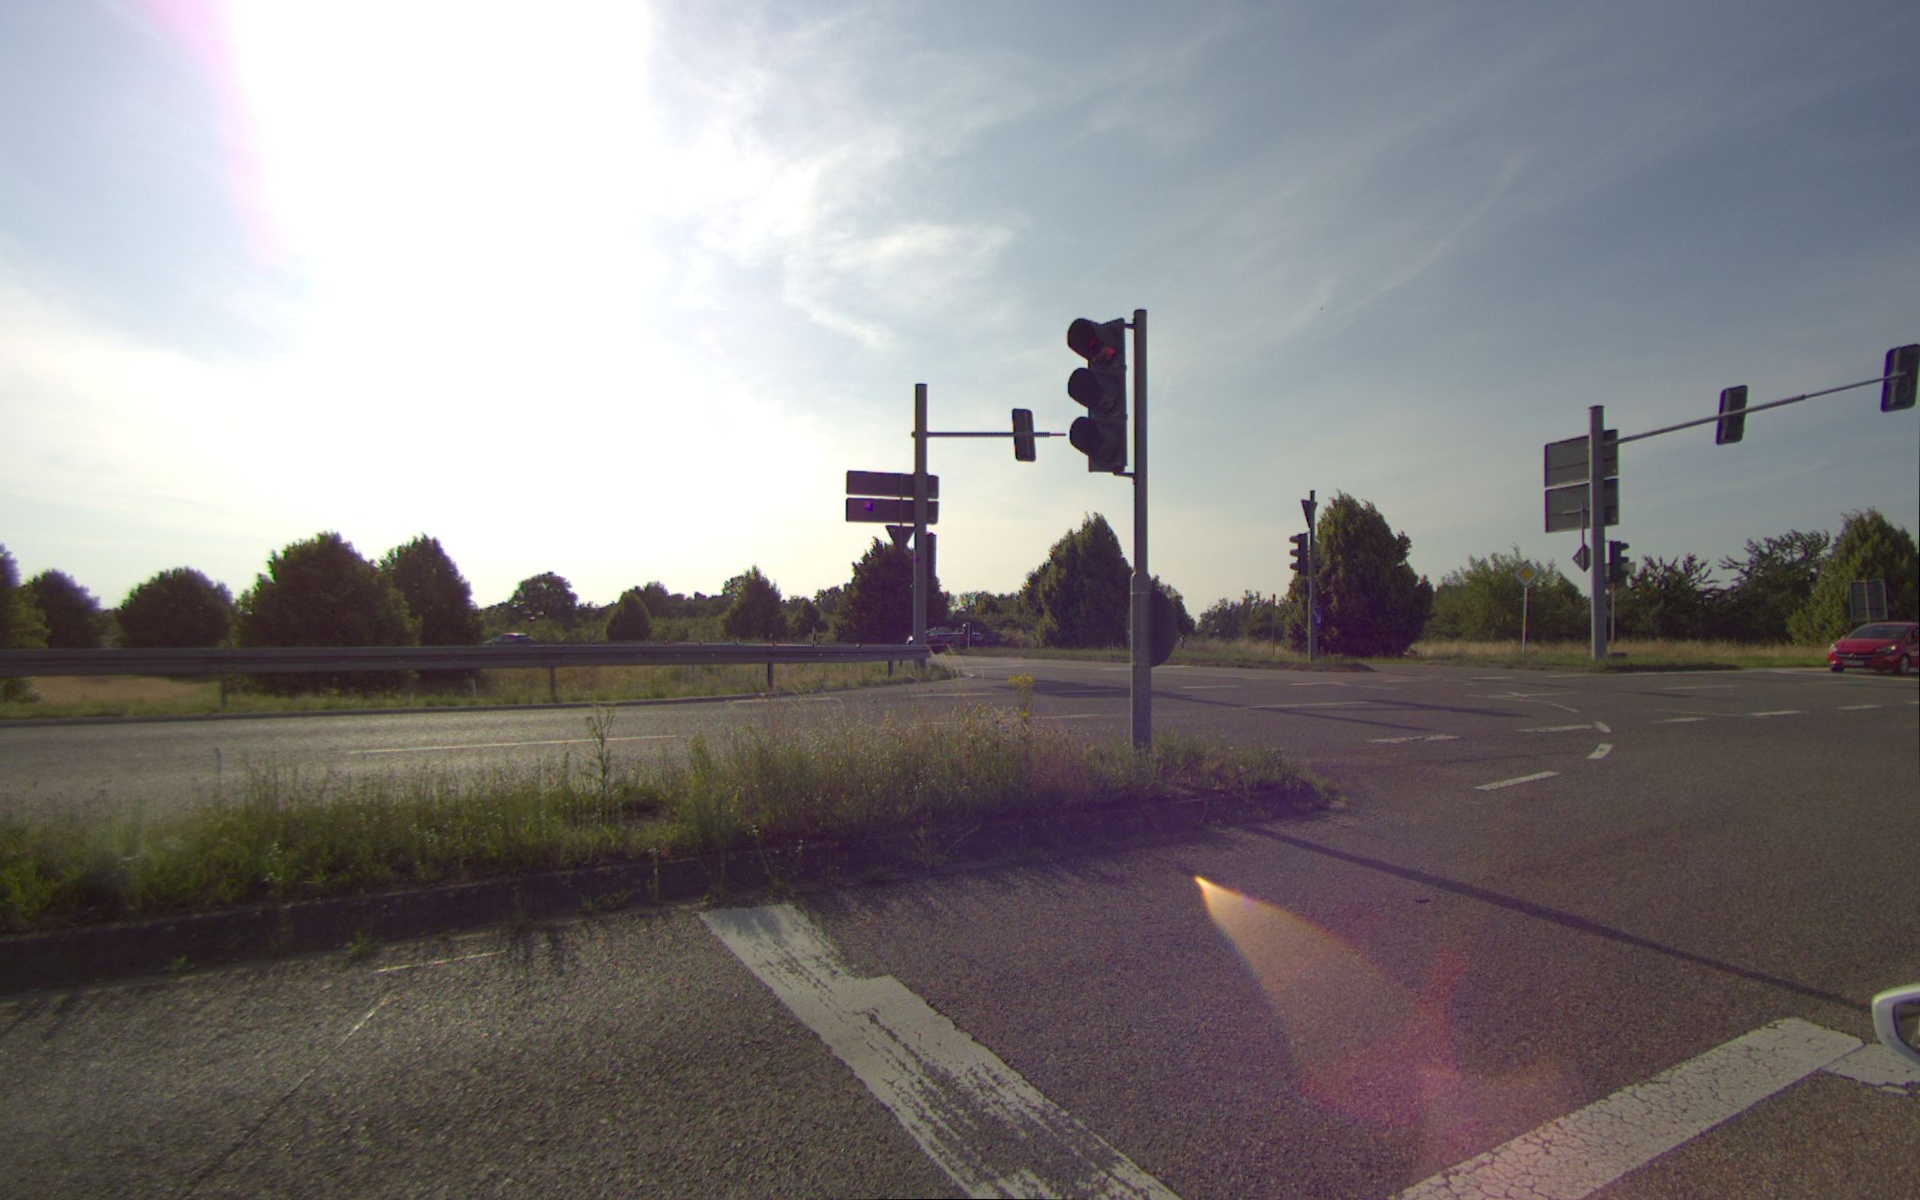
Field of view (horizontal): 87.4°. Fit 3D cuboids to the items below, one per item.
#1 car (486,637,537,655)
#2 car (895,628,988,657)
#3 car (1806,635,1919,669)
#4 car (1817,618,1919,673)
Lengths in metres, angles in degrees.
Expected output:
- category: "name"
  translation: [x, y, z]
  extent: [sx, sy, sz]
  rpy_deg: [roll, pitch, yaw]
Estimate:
- category: "car"
  translation: [-34.426, 3.505, 77.074]
  extent: [4.596, 1.309, 1.437]
  rpy_deg: [0, -2, 35]
- category: "car"
  translation: [-0.929, 2.027, 48.714]
  extent: [4.598, 1.299, 1.717]
  rpy_deg: [-1, -2, 43]
- category: "car"
  translation: [33.509, 1.891, 36.679]
  extent: [4.406, 1.116, 1.993]
  rpy_deg: [1, -1, -17]
- category: "car"
  translation: [27.001, 1.313, 29.387]
  extent: [3.757, 1.507, 1.714]
  rpy_deg: [1, -1, -28]
